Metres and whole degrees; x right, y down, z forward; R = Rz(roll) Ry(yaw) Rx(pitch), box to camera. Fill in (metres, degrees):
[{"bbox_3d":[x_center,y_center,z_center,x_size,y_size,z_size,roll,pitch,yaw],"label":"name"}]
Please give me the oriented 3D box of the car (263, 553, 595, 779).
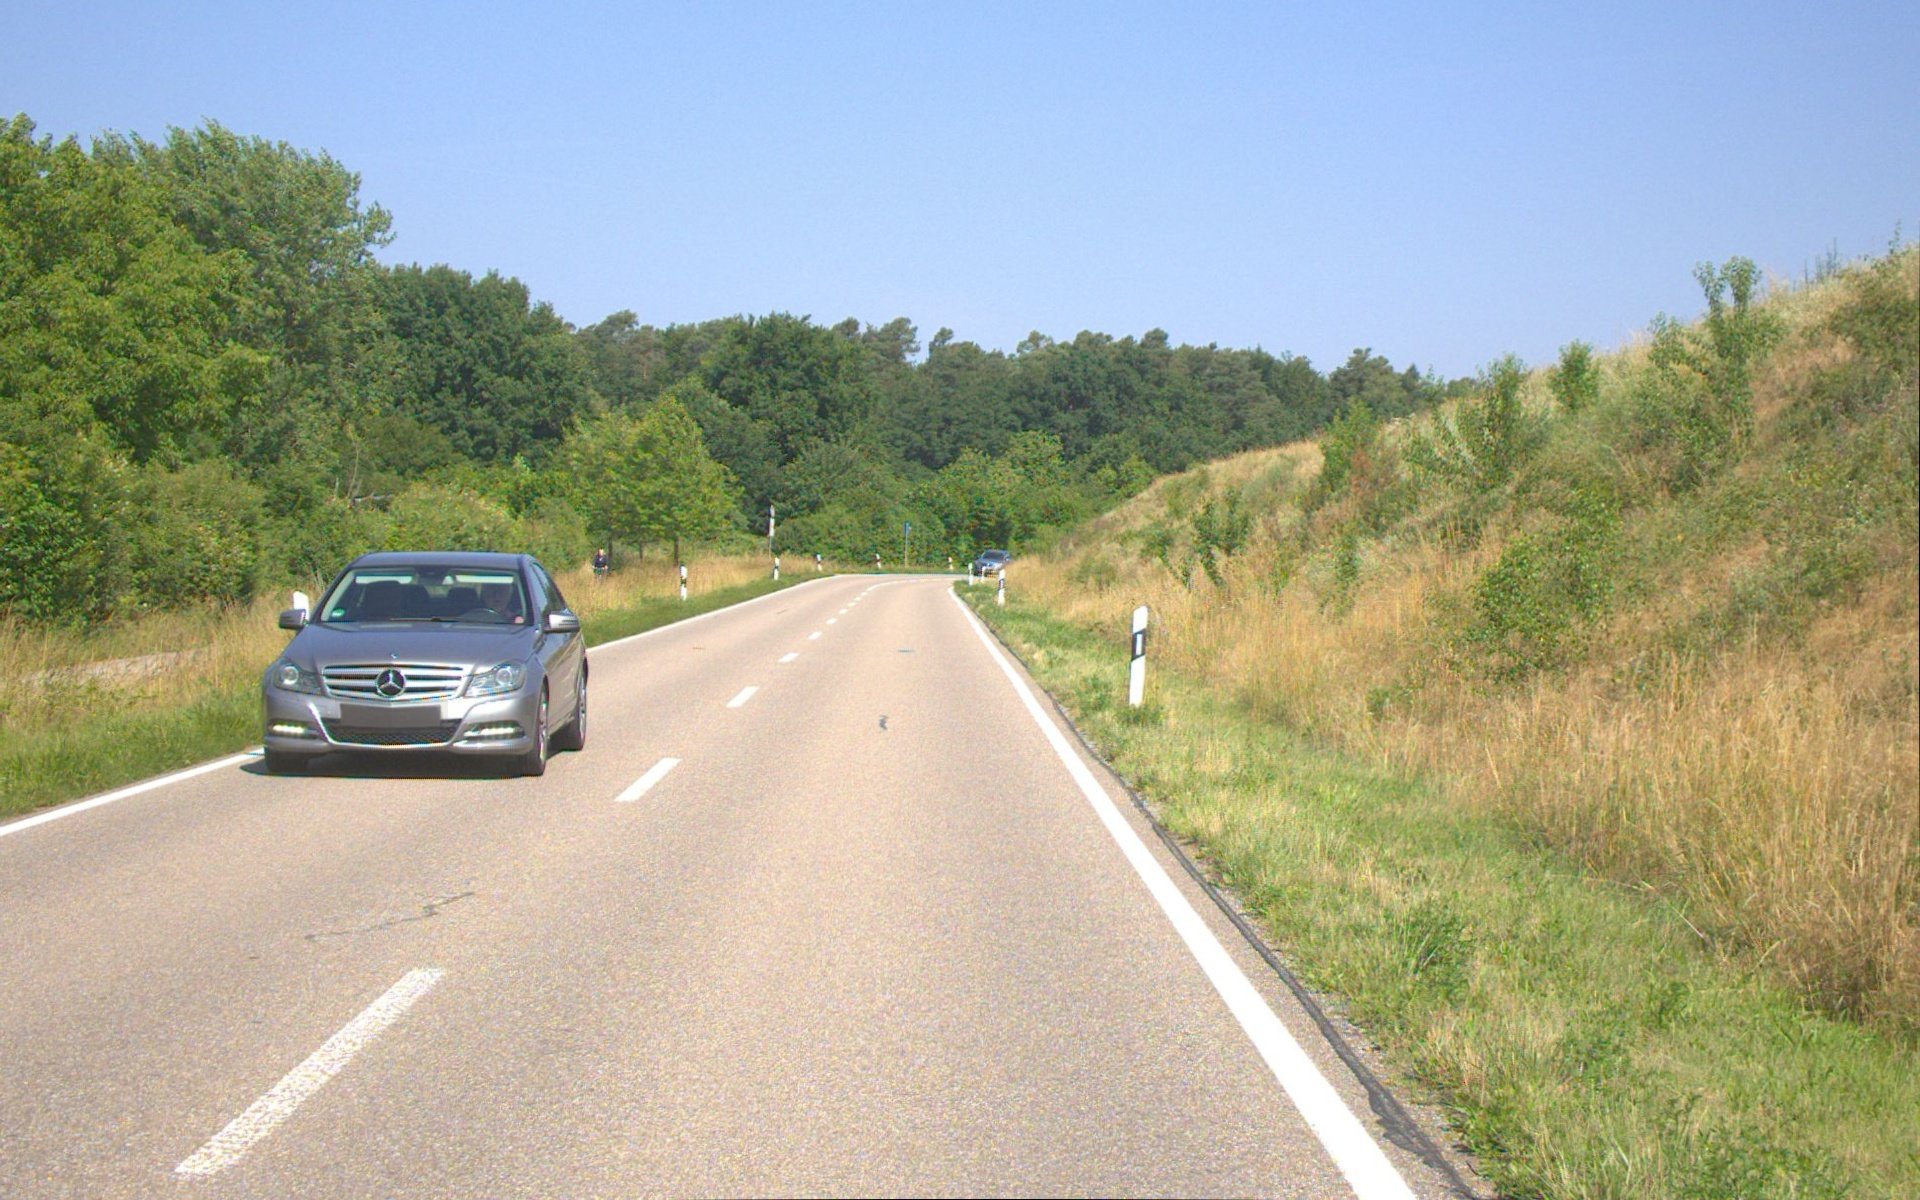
[{"bbox_3d":[-3.510,0.393,23.362,1.722,1.349,4.000,2,0,-2],"label":"car"}]
